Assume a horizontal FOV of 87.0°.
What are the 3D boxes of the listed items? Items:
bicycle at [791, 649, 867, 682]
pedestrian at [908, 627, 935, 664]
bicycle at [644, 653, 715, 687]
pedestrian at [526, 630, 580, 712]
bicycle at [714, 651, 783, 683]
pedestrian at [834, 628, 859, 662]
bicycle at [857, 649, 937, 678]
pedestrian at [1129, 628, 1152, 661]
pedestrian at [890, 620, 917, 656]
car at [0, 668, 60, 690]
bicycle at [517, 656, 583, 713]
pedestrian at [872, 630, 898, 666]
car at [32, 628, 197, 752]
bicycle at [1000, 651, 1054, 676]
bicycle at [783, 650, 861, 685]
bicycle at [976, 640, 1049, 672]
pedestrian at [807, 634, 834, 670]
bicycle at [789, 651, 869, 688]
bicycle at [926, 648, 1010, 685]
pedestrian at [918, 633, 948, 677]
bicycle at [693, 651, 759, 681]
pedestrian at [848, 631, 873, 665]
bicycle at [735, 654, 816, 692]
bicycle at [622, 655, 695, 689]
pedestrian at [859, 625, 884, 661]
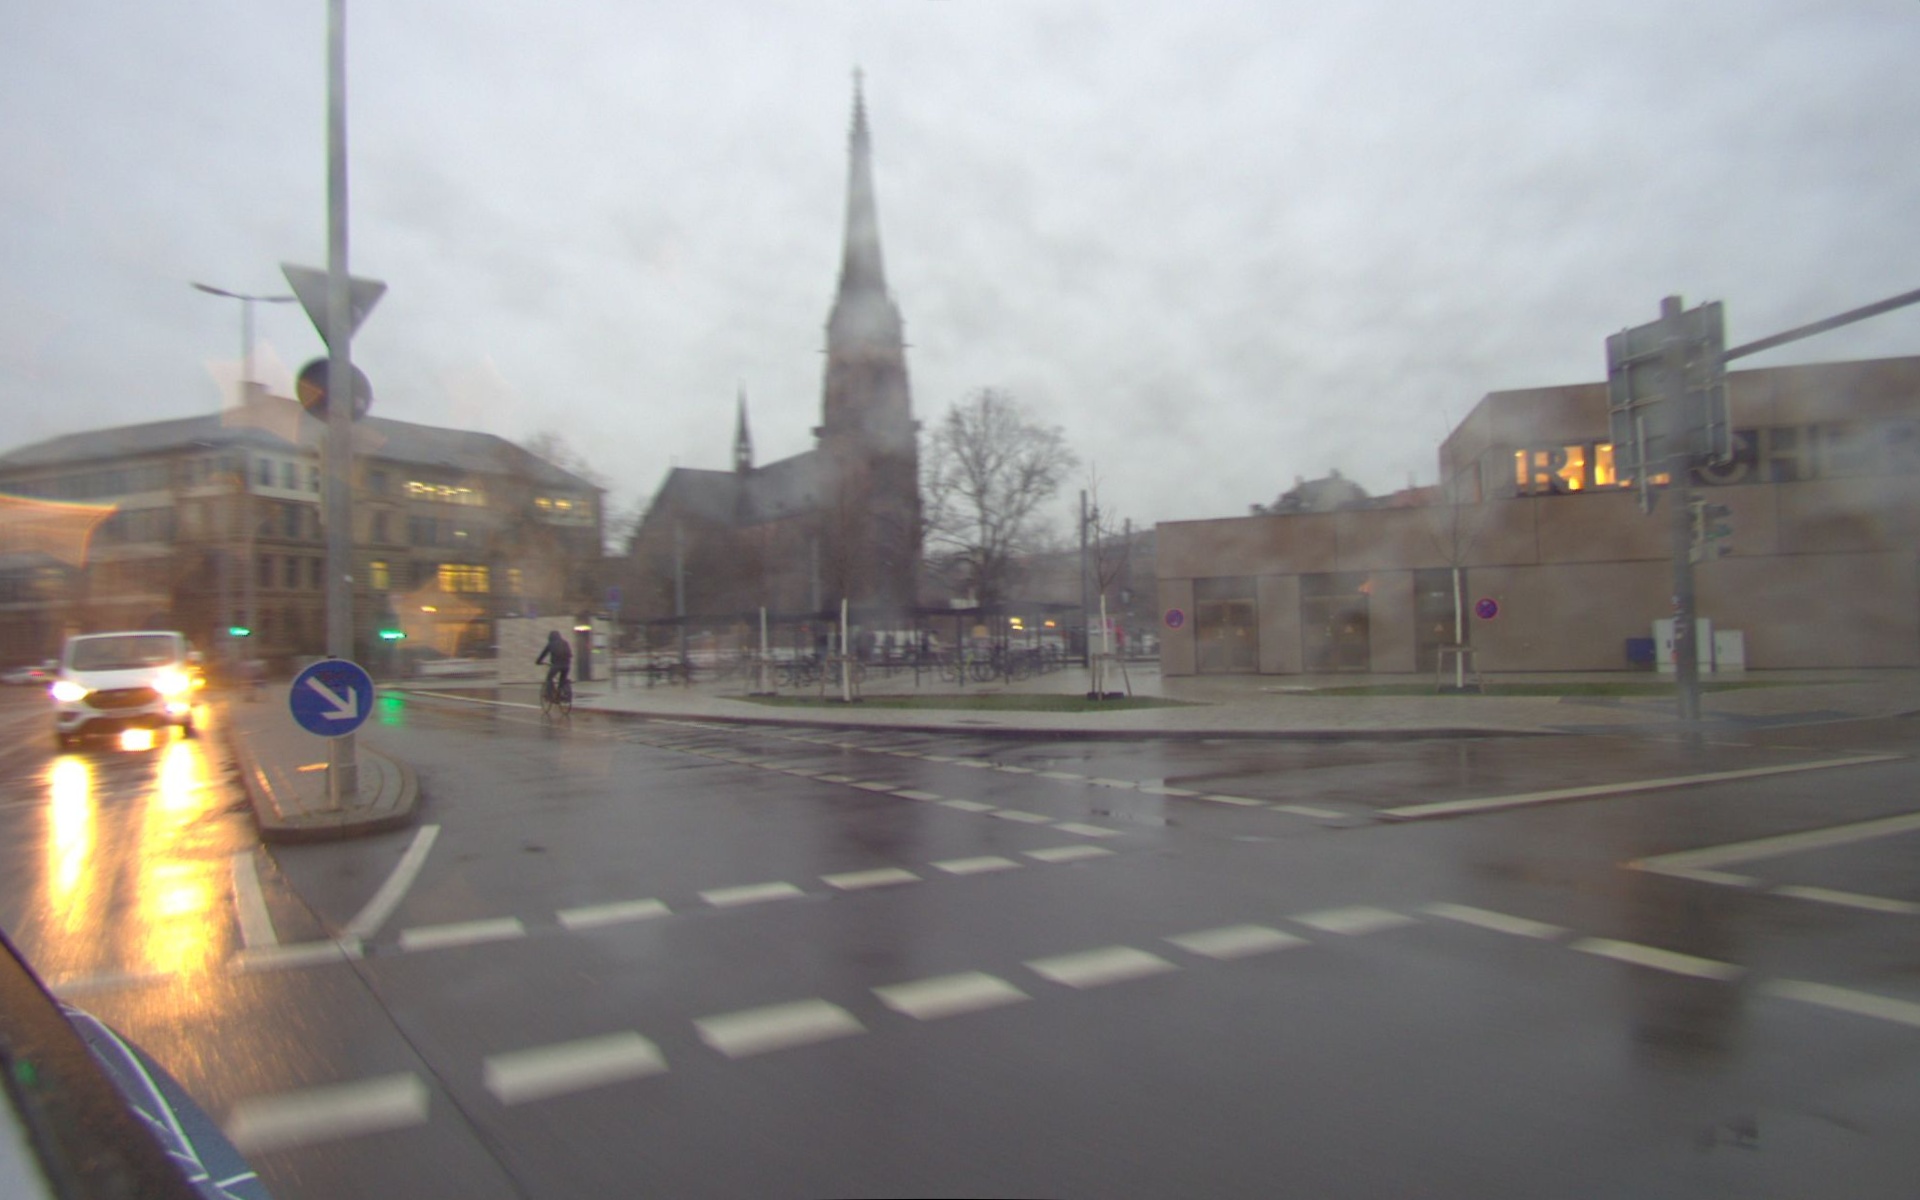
[{"bbox_3d":[-4.870,2.427,37.711,2.723,1.113,0.644,-3,-1,13],"label":"bicycle"},{"bbox_3d":[-2.039,2.402,53.611,1.019,1.864,0.850,-3,-1,-37],"label":"pedestrian"},{"bbox_3d":[-10.707,2.667,38.640,2.732,1.113,0.642,-4,-1,22],"label":"bicycle"},{"bbox_3d":[-8.873,1.544,22.062,0.982,1.747,0.707,-4,-5,42],"label":"pedestrian"},{"bbox_3d":[-8.485,2.676,40.567,2.732,1.113,0.642,-4,-1,22],"label":"bicycle"},{"bbox_3d":[-6.264,2.478,55.944,1.018,1.864,0.850,1,-4,-37],"label":"pedestrian"},{"bbox_3d":[-2.551,2.574,40.963,3.167,1.058,0.790,-3,-2,18],"label":"bicycle"},{"bbox_3d":[10.484,2.560,58.831,0.932,1.844,0.810,1,2,-37],"label":"pedestrian"},{"bbox_3d":[-3.046,2.061,54.591,1.019,1.864,0.850,-3,-1,-38],"label":"pedestrian"},{"bbox_3d":[-69.650,5.889,75.364,3.953,1.542,1.884,-2,-2,8],"label":"car"},{"bbox_3d":[-8.963,1.826,22.096,1.873,1.185,0.615,-4,-5,43],"label":"bicycle"},{"bbox_3d":[-4.066,2.583,54.911,1.019,1.864,0.850,-3,-1,-37],"label":"pedestrian"},{"bbox_3d":[-16.026,1.647,19.439,2.104,1.935,5.027,-3,-2,-37],"label":"car"},{"bbox_3d":[2.429,2.295,36.552,1.849,0.878,0.603,-3,-3,18],"label":"bicycle"},{"bbox_3d":[-5.031,2.463,36.949,2.723,1.113,0.644,-4,-1,13],"label":"bicycle"},{"bbox_3d":[2.059,2.199,39.806,2.732,1.113,0.642,-4,-1,22],"label":"bicycle"},{"bbox_3d":[-7.640,2.842,55.335,1.033,1.863,0.850,-6,0,-37],"label":"pedestrian"},{"bbox_3d":[-4.555,2.411,35.086,2.732,1.113,0.642,-4,-1,22],"label":"bicycle"},{"bbox_3d":[0.276,2.231,33.925,2.725,1.113,0.605,-3,-1,15],"label":"bicycle"},{"bbox_3d":[-1.133,2.269,42.040,0.803,1.693,0.850,-5,2,-37],"label":"pedestrian"},{"bbox_3d":[-9.778,2.764,42.323,2.729,1.113,0.643,-4,-1,19],"label":"bicycle"},{"bbox_3d":[-5.434,2.625,55.428,1.018,1.864,0.850,1,-4,-37],"label":"pedestrian"},{"bbox_3d":[-6.303,2.492,34.485,2.732,1.113,0.642,-4,-1,22],"label":"bicycle"},{"bbox_3d":[-11.209,2.684,37.568,2.732,1.113,0.642,-4,-1,22],"label":"bicycle"},{"bbox_3d":[-4.793,2.331,54.748,1.018,1.864,0.804,0,-4,-37],"label":"pedestrian"}]
